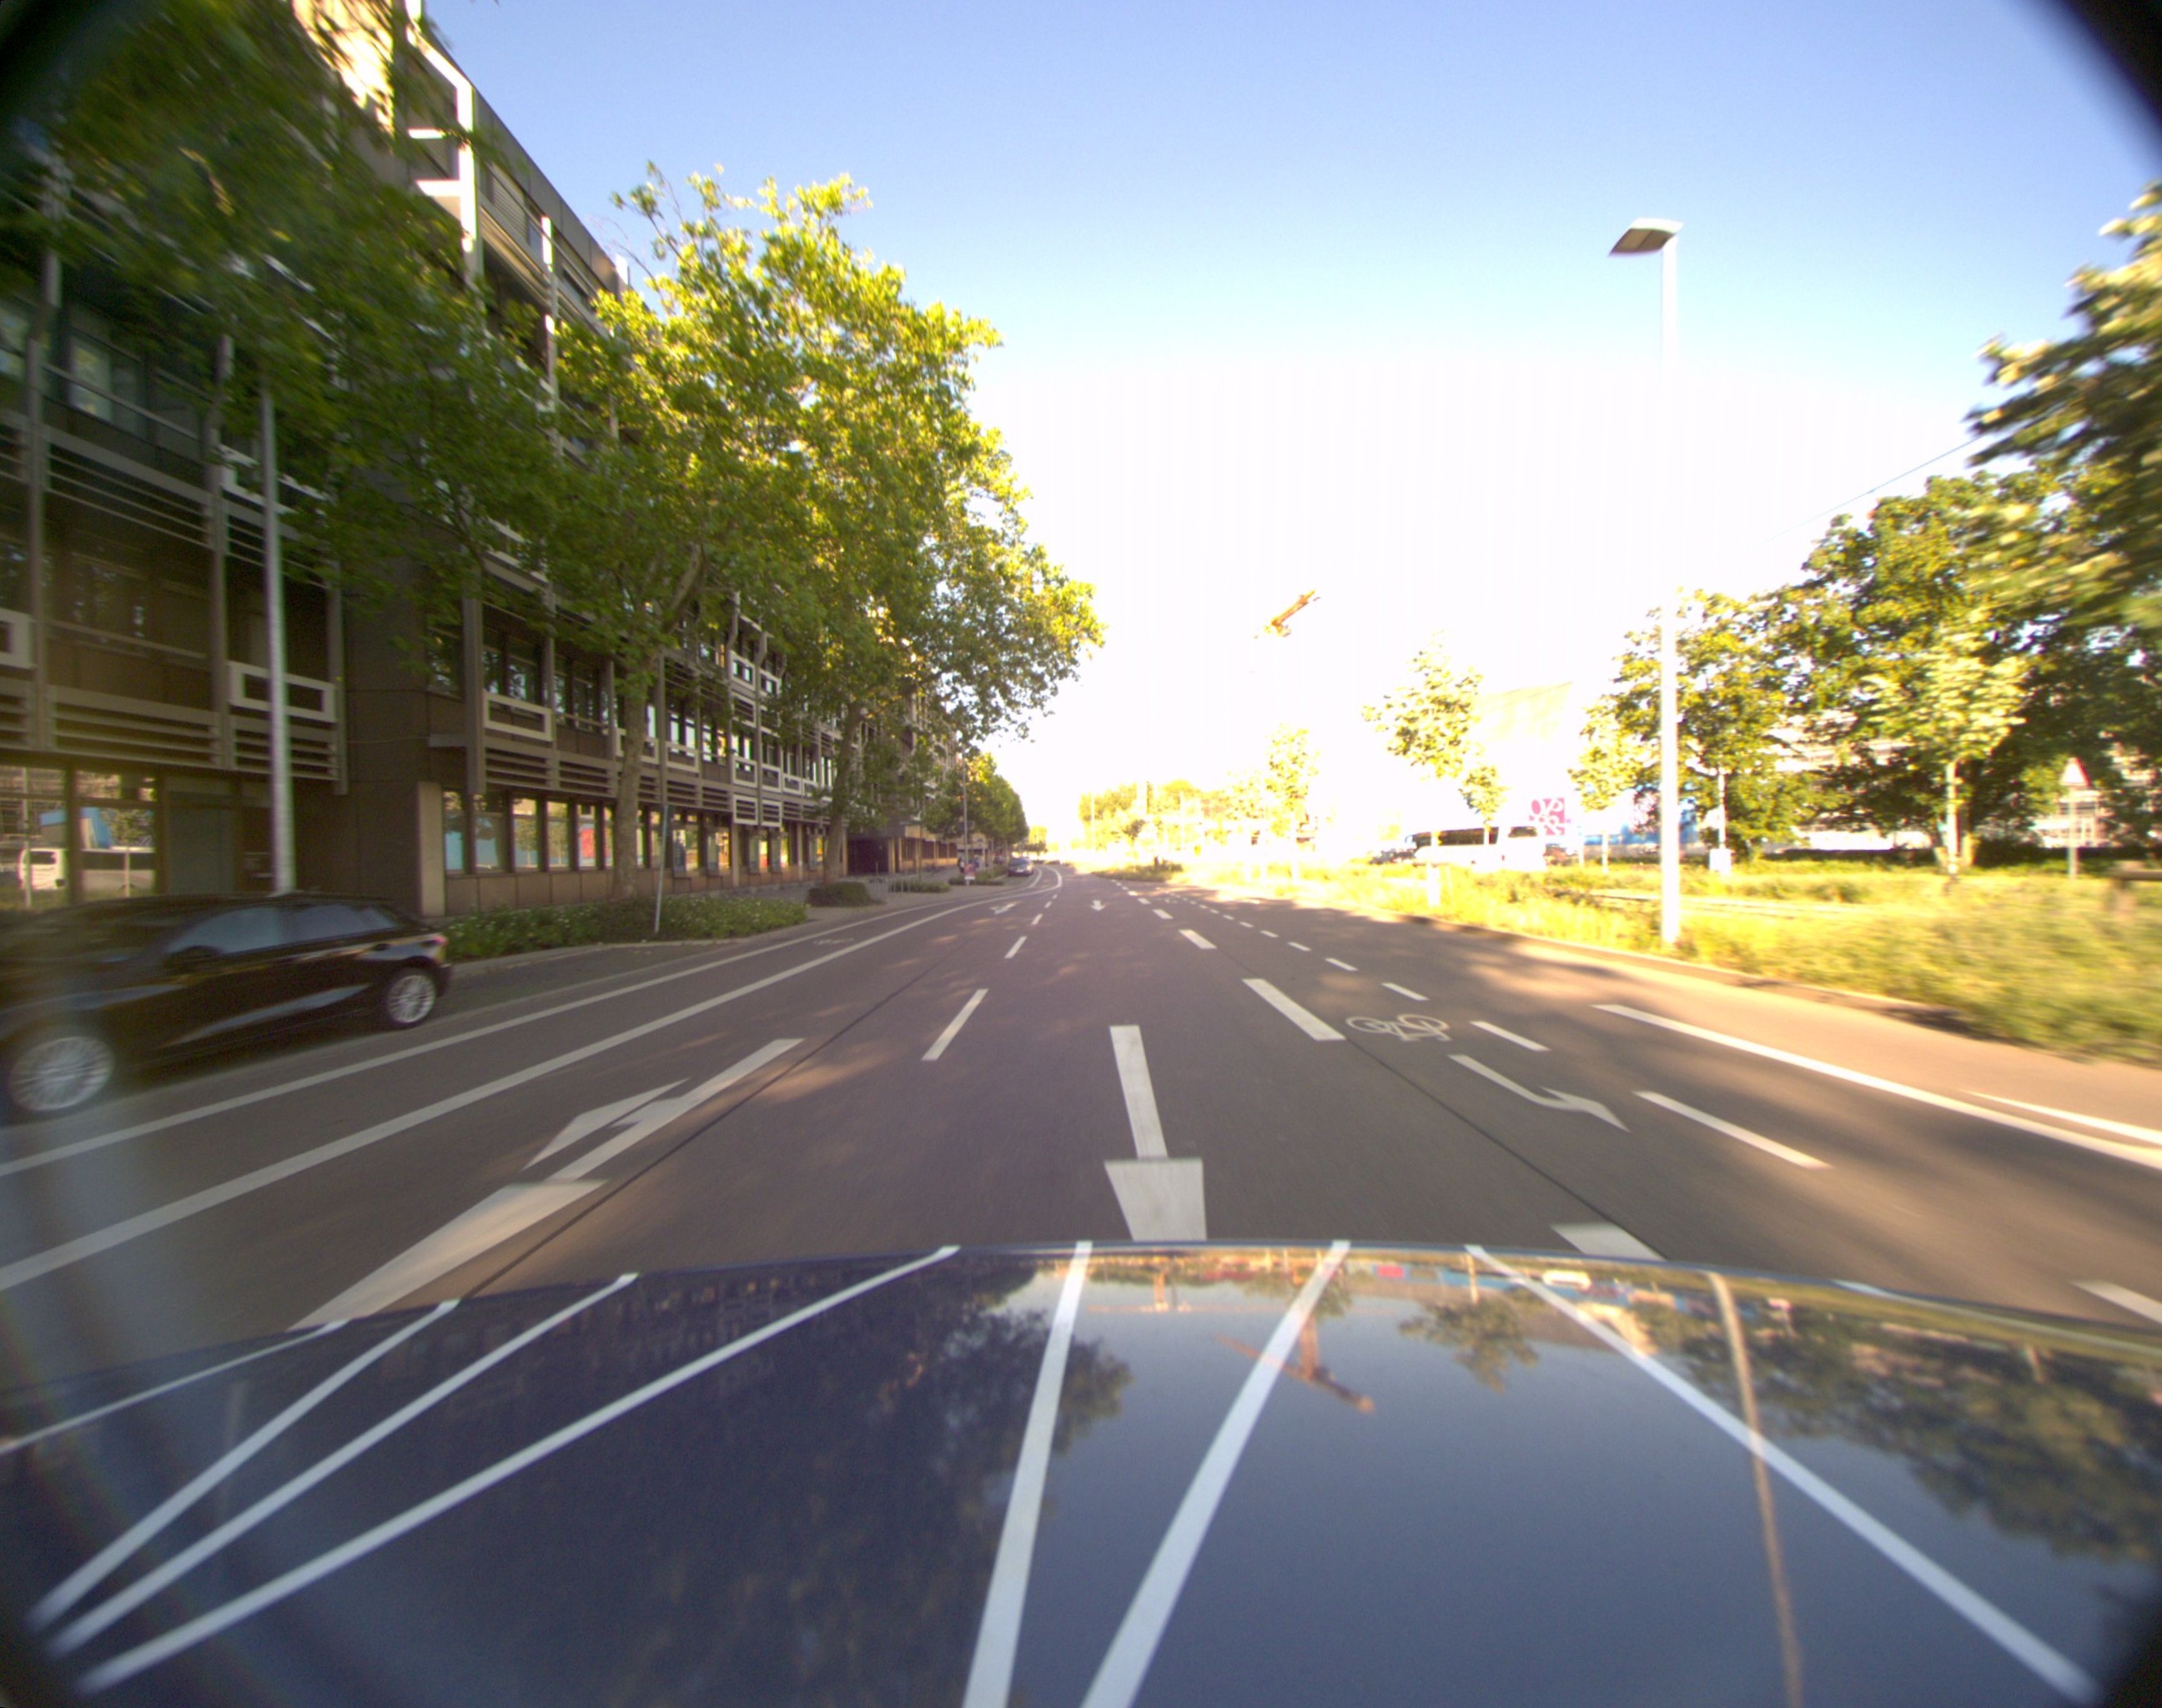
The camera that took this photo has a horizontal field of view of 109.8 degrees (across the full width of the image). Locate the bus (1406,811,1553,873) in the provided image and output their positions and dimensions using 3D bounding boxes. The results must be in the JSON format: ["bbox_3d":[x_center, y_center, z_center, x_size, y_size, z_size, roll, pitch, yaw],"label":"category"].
[{"bbox_3d":[26.011,-0.729,50.746,2.806,3.574,12.695,-1,0,-2],"label":"bus"}]

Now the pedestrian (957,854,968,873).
[{"bbox_3d":[-10.340,0.782,66.449,0.791,1.639,1.136,0,1,-2],"label":"pedestrian"}]

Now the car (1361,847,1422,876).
[{"bbox_3d":[20.126,0.456,49.451,1.875,1.755,4.812,-1,0,-1],"label":"car"}]

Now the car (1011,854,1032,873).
[{"bbox_3d":[-5.297,0.807,67.641,1.733,1.678,4.513,1,0,-3],"label":"car"}]

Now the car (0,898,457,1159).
[{"bbox_3d":[-7.661,1.206,6.117,1.710,1.410,4.276,1,0,1],"label":"car"}]

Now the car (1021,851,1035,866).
[{"bbox_3d":[-7.048,0.527,100.097,1.740,1.908,4.391,1,0,-5],"label":"car"}]

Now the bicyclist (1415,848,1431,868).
[{"bbox_3d":[23.521,0.294,52.260,0.689,1.338,0.871,-1,1,-2],"label":"bicyclist"}]

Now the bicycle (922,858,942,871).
[{"bbox_3d":[-12.977,0.932,66.317,1.631,1.076,0.392,0,1,0],"label":"bicycle"}]

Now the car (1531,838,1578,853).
[{"bbox_3d":[51.818,-0.907,83.280,1.414,1.626,4.215,-2,0,-27],"label":"car"}]

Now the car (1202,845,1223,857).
[{"bbox_3d":[18.635,-0.427,107.804,1.999,1.633,4.166,-1,0,-2],"label":"car"}]

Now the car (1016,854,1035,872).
[{"bbox_3d":[-5.391,0.840,73.762,1.733,1.612,4.215,1,0,-3],"label":"car"}]

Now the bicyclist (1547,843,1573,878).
[{"bbox_3d":[24.041,0.314,38.178,0.689,1.698,0.954,-1,1,0],"label":"bicyclist"}]

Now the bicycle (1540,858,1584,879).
[{"bbox_3d":[24.070,0.711,38.063,0.689,0.997,2.361,-1,0,0],"label":"bicycle"}]

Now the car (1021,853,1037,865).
[{"bbox_3d":[-7.376,0.696,107.489,1.937,1.589,4.695,1,0,-8],"label":"car"}]

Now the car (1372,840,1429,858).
[{"bbox_3d":[34.108,-0.536,81.225,5.241,1.707,2.124,-1,1,-3],"label":"car"}]

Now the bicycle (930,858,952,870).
[{"bbox_3d":[-12.650,0.903,68.672,1.905,1.086,0.392,0,1,-7],"label":"bicycle"}]
